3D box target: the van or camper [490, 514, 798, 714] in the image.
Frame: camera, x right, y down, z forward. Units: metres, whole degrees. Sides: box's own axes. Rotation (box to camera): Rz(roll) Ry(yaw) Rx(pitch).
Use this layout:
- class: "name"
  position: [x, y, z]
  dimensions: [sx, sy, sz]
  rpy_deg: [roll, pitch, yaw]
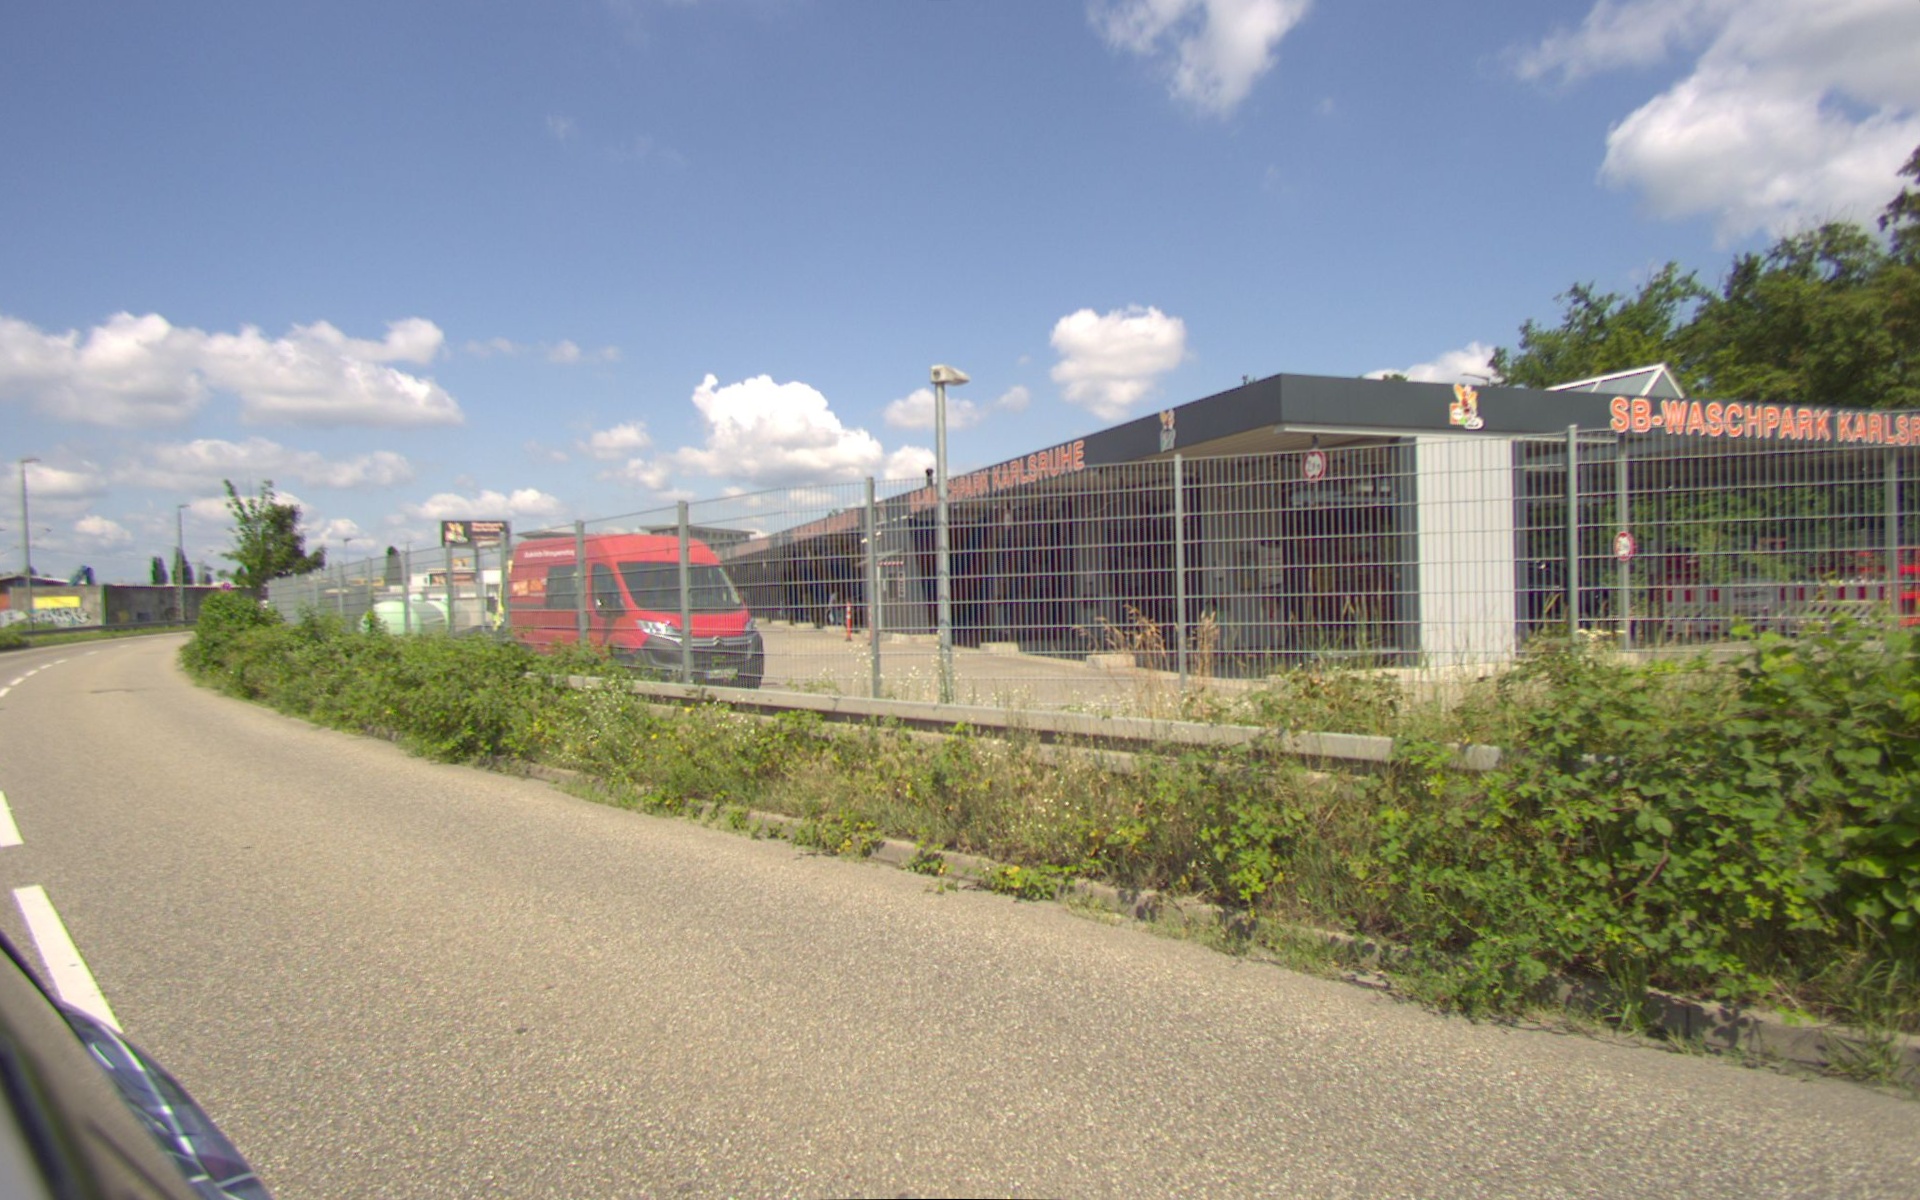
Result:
- class: "van or camper"
  position: [-5.060, 0.240, 15.585]
  dimensions: [2.163, 2.533, 5.705]
  rpy_deg: [1, -2, -45]

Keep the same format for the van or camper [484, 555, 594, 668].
- class: "van or camper"
  position: [-10.325, 0.209, 25.097]
  dimensions: [2.210, 2.443, 5.678]
  rpy_deg: [-1, 1, -21]
